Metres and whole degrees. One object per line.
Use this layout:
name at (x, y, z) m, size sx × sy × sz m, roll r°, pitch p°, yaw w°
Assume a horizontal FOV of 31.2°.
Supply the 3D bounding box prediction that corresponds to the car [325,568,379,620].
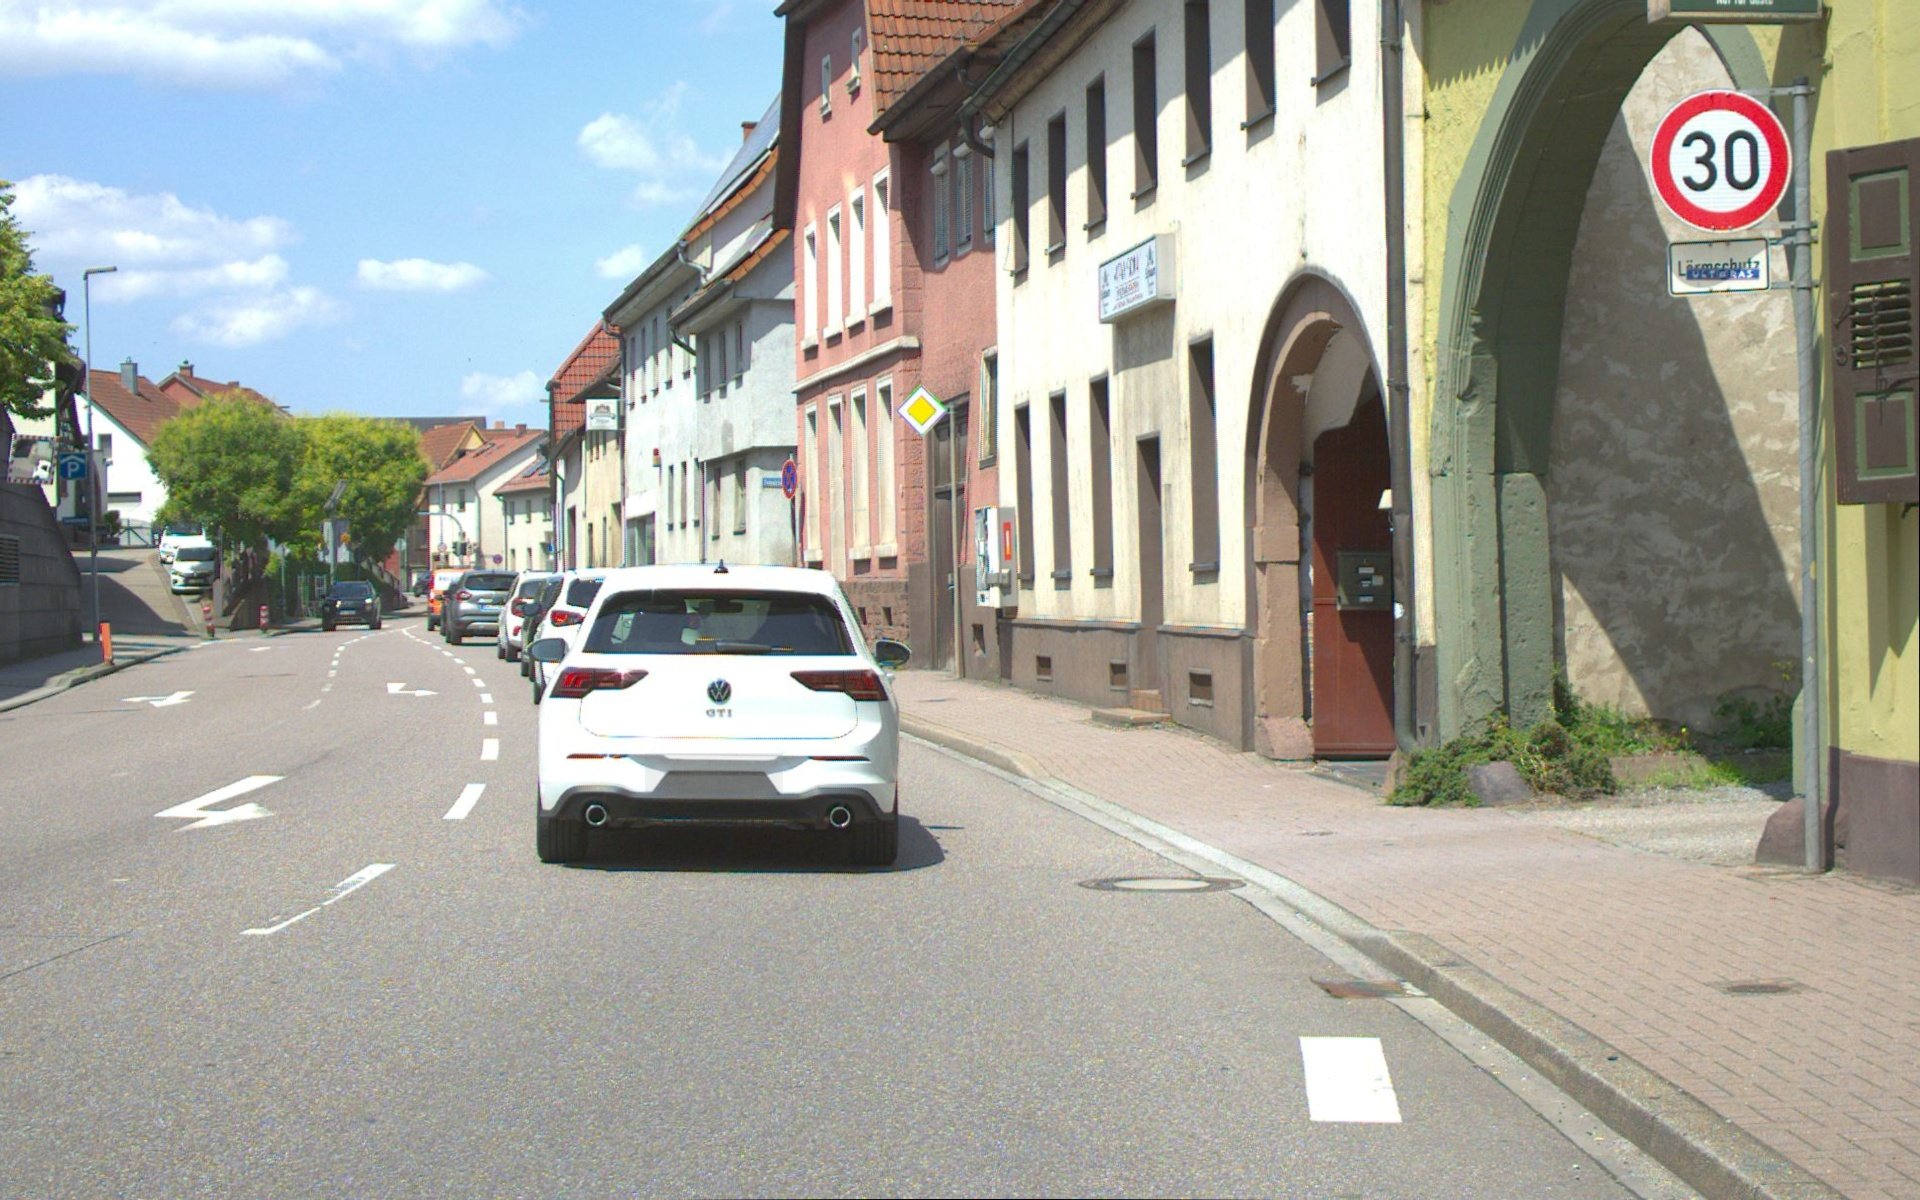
car at (-19.832, -0.212, 112.215) m, size 1.669 × 1.652 × 4.019 m, roll -1°, pitch 0°, yaw -9°

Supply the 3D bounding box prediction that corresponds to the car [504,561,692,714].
car at (-3.774, 0.371, 35.725) m, size 1.807 × 1.462 × 4.001 m, roll 1°, pitch 0°, yaw -6°

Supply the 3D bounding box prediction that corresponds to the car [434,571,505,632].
car at (-12.866, 0.018, 90.128) m, size 1.775 × 1.533 × 4.001 m, roll 0°, pitch 0°, yaw -8°

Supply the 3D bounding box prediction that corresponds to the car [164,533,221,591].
car at (-25.226, -1.263, 113.047) m, size 1.693 × 1.537 × 3.858 m, roll 0°, pitch 6°, yaw -11°

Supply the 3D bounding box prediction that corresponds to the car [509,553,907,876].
car at (-1.312, 0.535, 17.869) m, size 1.807 × 1.462 × 4.000 m, roll 1°, pitch 0°, yaw -4°

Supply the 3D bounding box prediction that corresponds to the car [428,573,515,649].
car at (-10.328, 0.212, 72.619) m, size 1.775 × 1.533 × 4.001 m, roll 0°, pitch 0°, yaw -8°

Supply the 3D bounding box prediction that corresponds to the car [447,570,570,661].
car at (-7.656, 0.255, 58.074) m, size 1.807 × 1.462 × 4.001 m, roll 1°, pitch 0°, yaw -11°

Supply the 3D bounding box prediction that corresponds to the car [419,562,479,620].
car at (-15.746, -0.292, 105.871) m, size 1.775 × 1.759 × 4.001 m, roll 0°, pitch 0°, yaw -9°

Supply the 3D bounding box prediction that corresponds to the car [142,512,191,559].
car at (-28.632, -2.334, 124.112) m, size 1.576 × 1.357 × 3.858 m, roll 0°, pitch 6°, yaw -11°
